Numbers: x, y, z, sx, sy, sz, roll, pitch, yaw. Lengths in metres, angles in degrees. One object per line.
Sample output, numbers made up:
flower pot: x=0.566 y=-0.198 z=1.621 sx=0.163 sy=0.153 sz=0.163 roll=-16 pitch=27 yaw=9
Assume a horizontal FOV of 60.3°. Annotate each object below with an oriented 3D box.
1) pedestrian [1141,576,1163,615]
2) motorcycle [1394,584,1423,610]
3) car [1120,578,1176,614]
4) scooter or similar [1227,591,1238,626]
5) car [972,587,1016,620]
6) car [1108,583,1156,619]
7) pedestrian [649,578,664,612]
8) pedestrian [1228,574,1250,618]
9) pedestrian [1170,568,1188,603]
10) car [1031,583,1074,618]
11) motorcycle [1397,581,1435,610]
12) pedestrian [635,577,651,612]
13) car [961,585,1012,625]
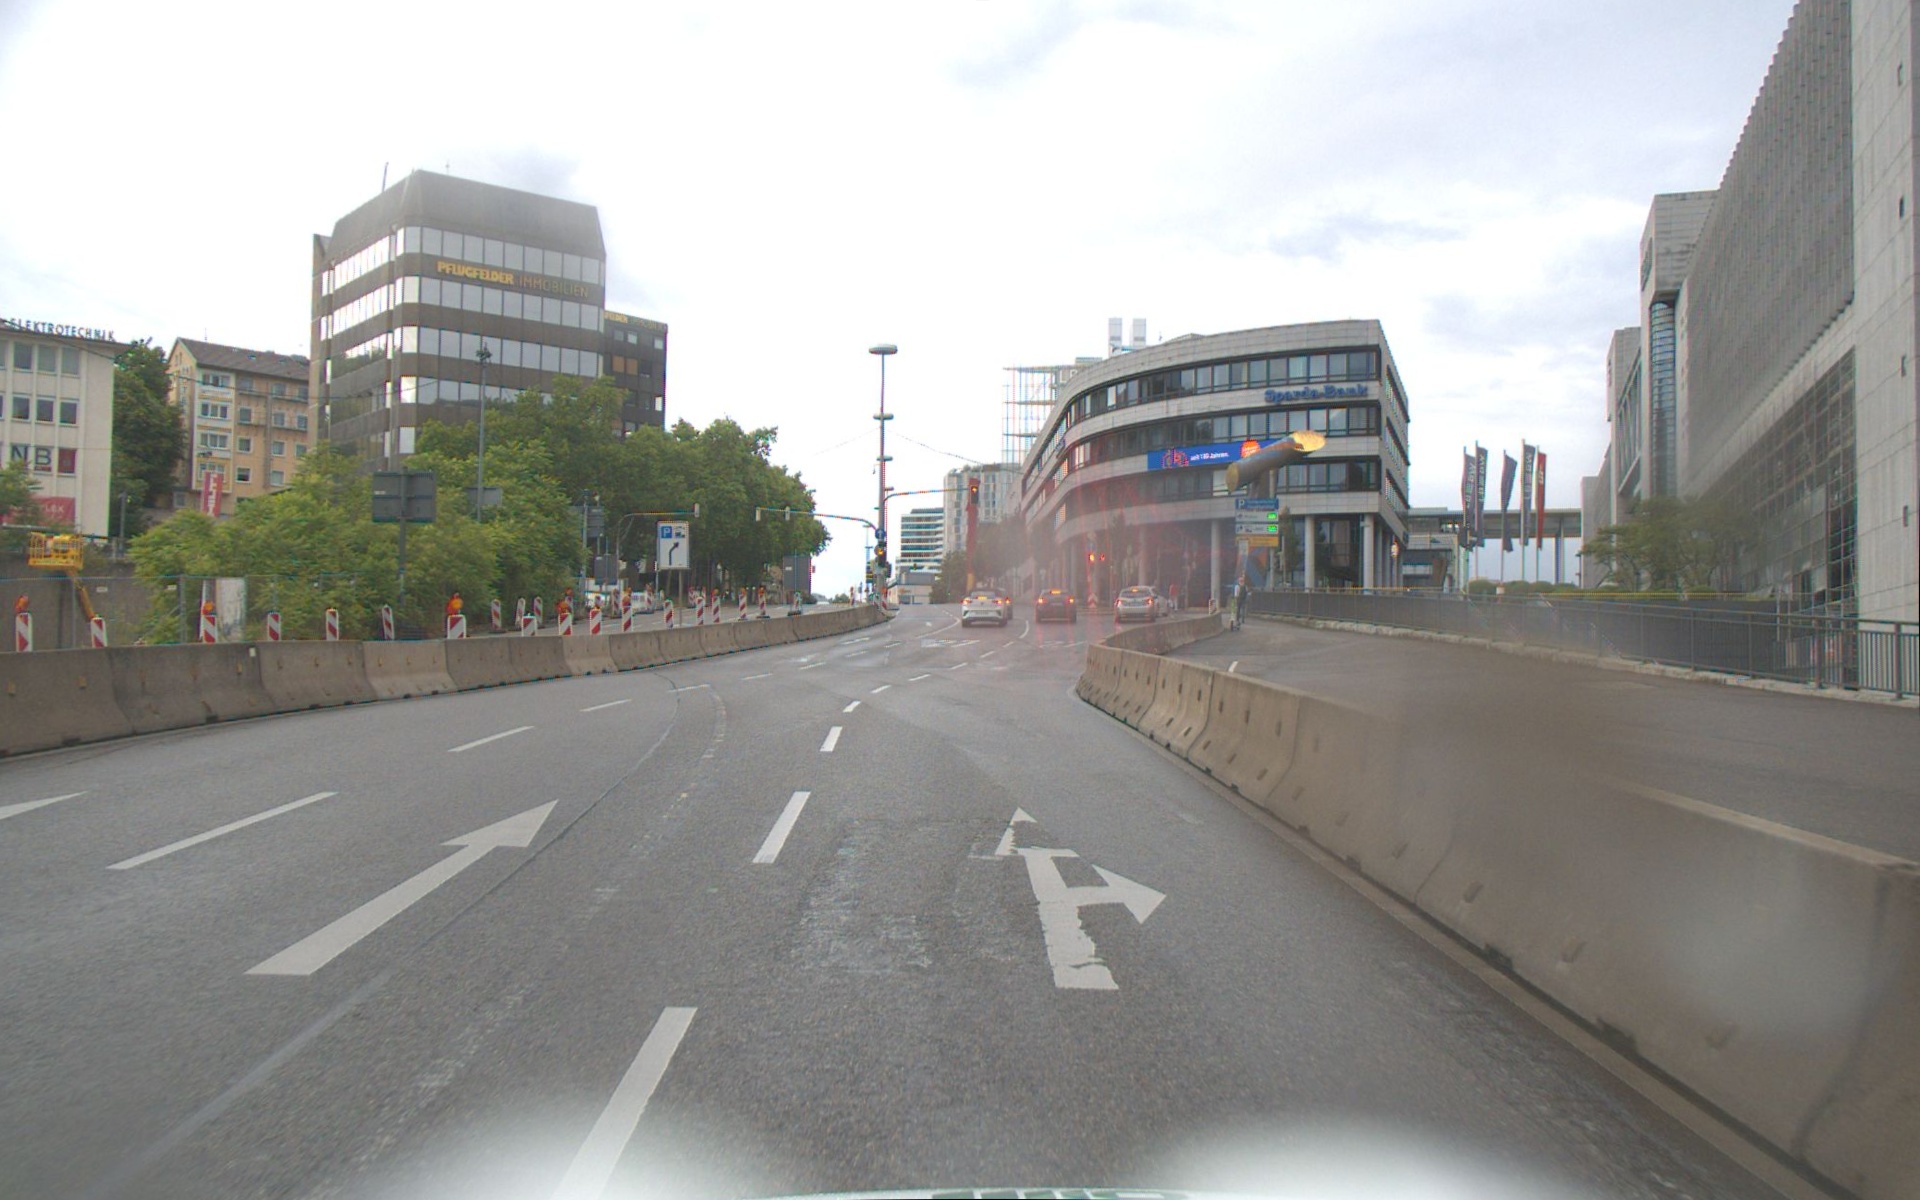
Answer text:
pedestrian: x=10.678 y=-0.265 z=92.000 sx=0.841 sy=2.135 sz=0.897 roll=2 pitch=0 yaw=-25
motorcycle: x=22.440 y=-0.164 z=82.740 sx=1.218 sy=1.293 sz=0.619 roll=-1 pitch=0 yaw=-9
car: x=8.988 y=-0.191 z=78.704 sx=1.734 sy=1.662 sz=4.583 roll=0 pitch=1 yaw=18
scooter or similar: x=9.282 y=0.285 z=56.285 sx=0.341 sy=1.183 sz=0.573 roll=0 pitch=-1 yaw=13
car: x=1.548 y=0.152 z=76.405 sx=1.705 sy=1.468 sz=3.997 roll=0 pitch=0 yaw=-4
car: x=7.440 y=0.074 z=71.956 sx=1.666 sy=1.476 sz=4.616 roll=1 pitch=-1 yaw=1
pedestrian: x=-17.538 y=-0.295 z=95.519 sx=0.658 sy=1.935 sz=0.775 roll=0 pitch=-2 yaw=1
pedestrian: x=11.170 y=-0.155 z=66.341 sx=0.715 sy=1.741 sz=0.843 roll=1 pitch=-2 yaw=-2
pedestrian: x=12.450 y=-0.825 z=94.128 sx=0.823 sy=1.938 sz=0.860 roll=0 pitch=-2 yaw=24
car: x=3.995 y=0.051 z=72.263 sx=1.718 sy=1.432 sz=4.228 roll=2 pitch=-1 yaw=2
motorcycle: x=22.613 y=-0.223 z=82.023 sx=1.692 sy=1.378 sz=0.605 roll=-1 pitch=0 yaw=-9
pedestrian: x=-18.324 y=-0.309 z=95.547 sx=0.745 sy=1.956 sz=0.742 roll=0 pitch=-2 yaw=1
car: x=1.128 y=0.177 z=67.674 sx=1.923 sy=1.576 sz=4.220 roll=0 pitch=1 yaw=3
